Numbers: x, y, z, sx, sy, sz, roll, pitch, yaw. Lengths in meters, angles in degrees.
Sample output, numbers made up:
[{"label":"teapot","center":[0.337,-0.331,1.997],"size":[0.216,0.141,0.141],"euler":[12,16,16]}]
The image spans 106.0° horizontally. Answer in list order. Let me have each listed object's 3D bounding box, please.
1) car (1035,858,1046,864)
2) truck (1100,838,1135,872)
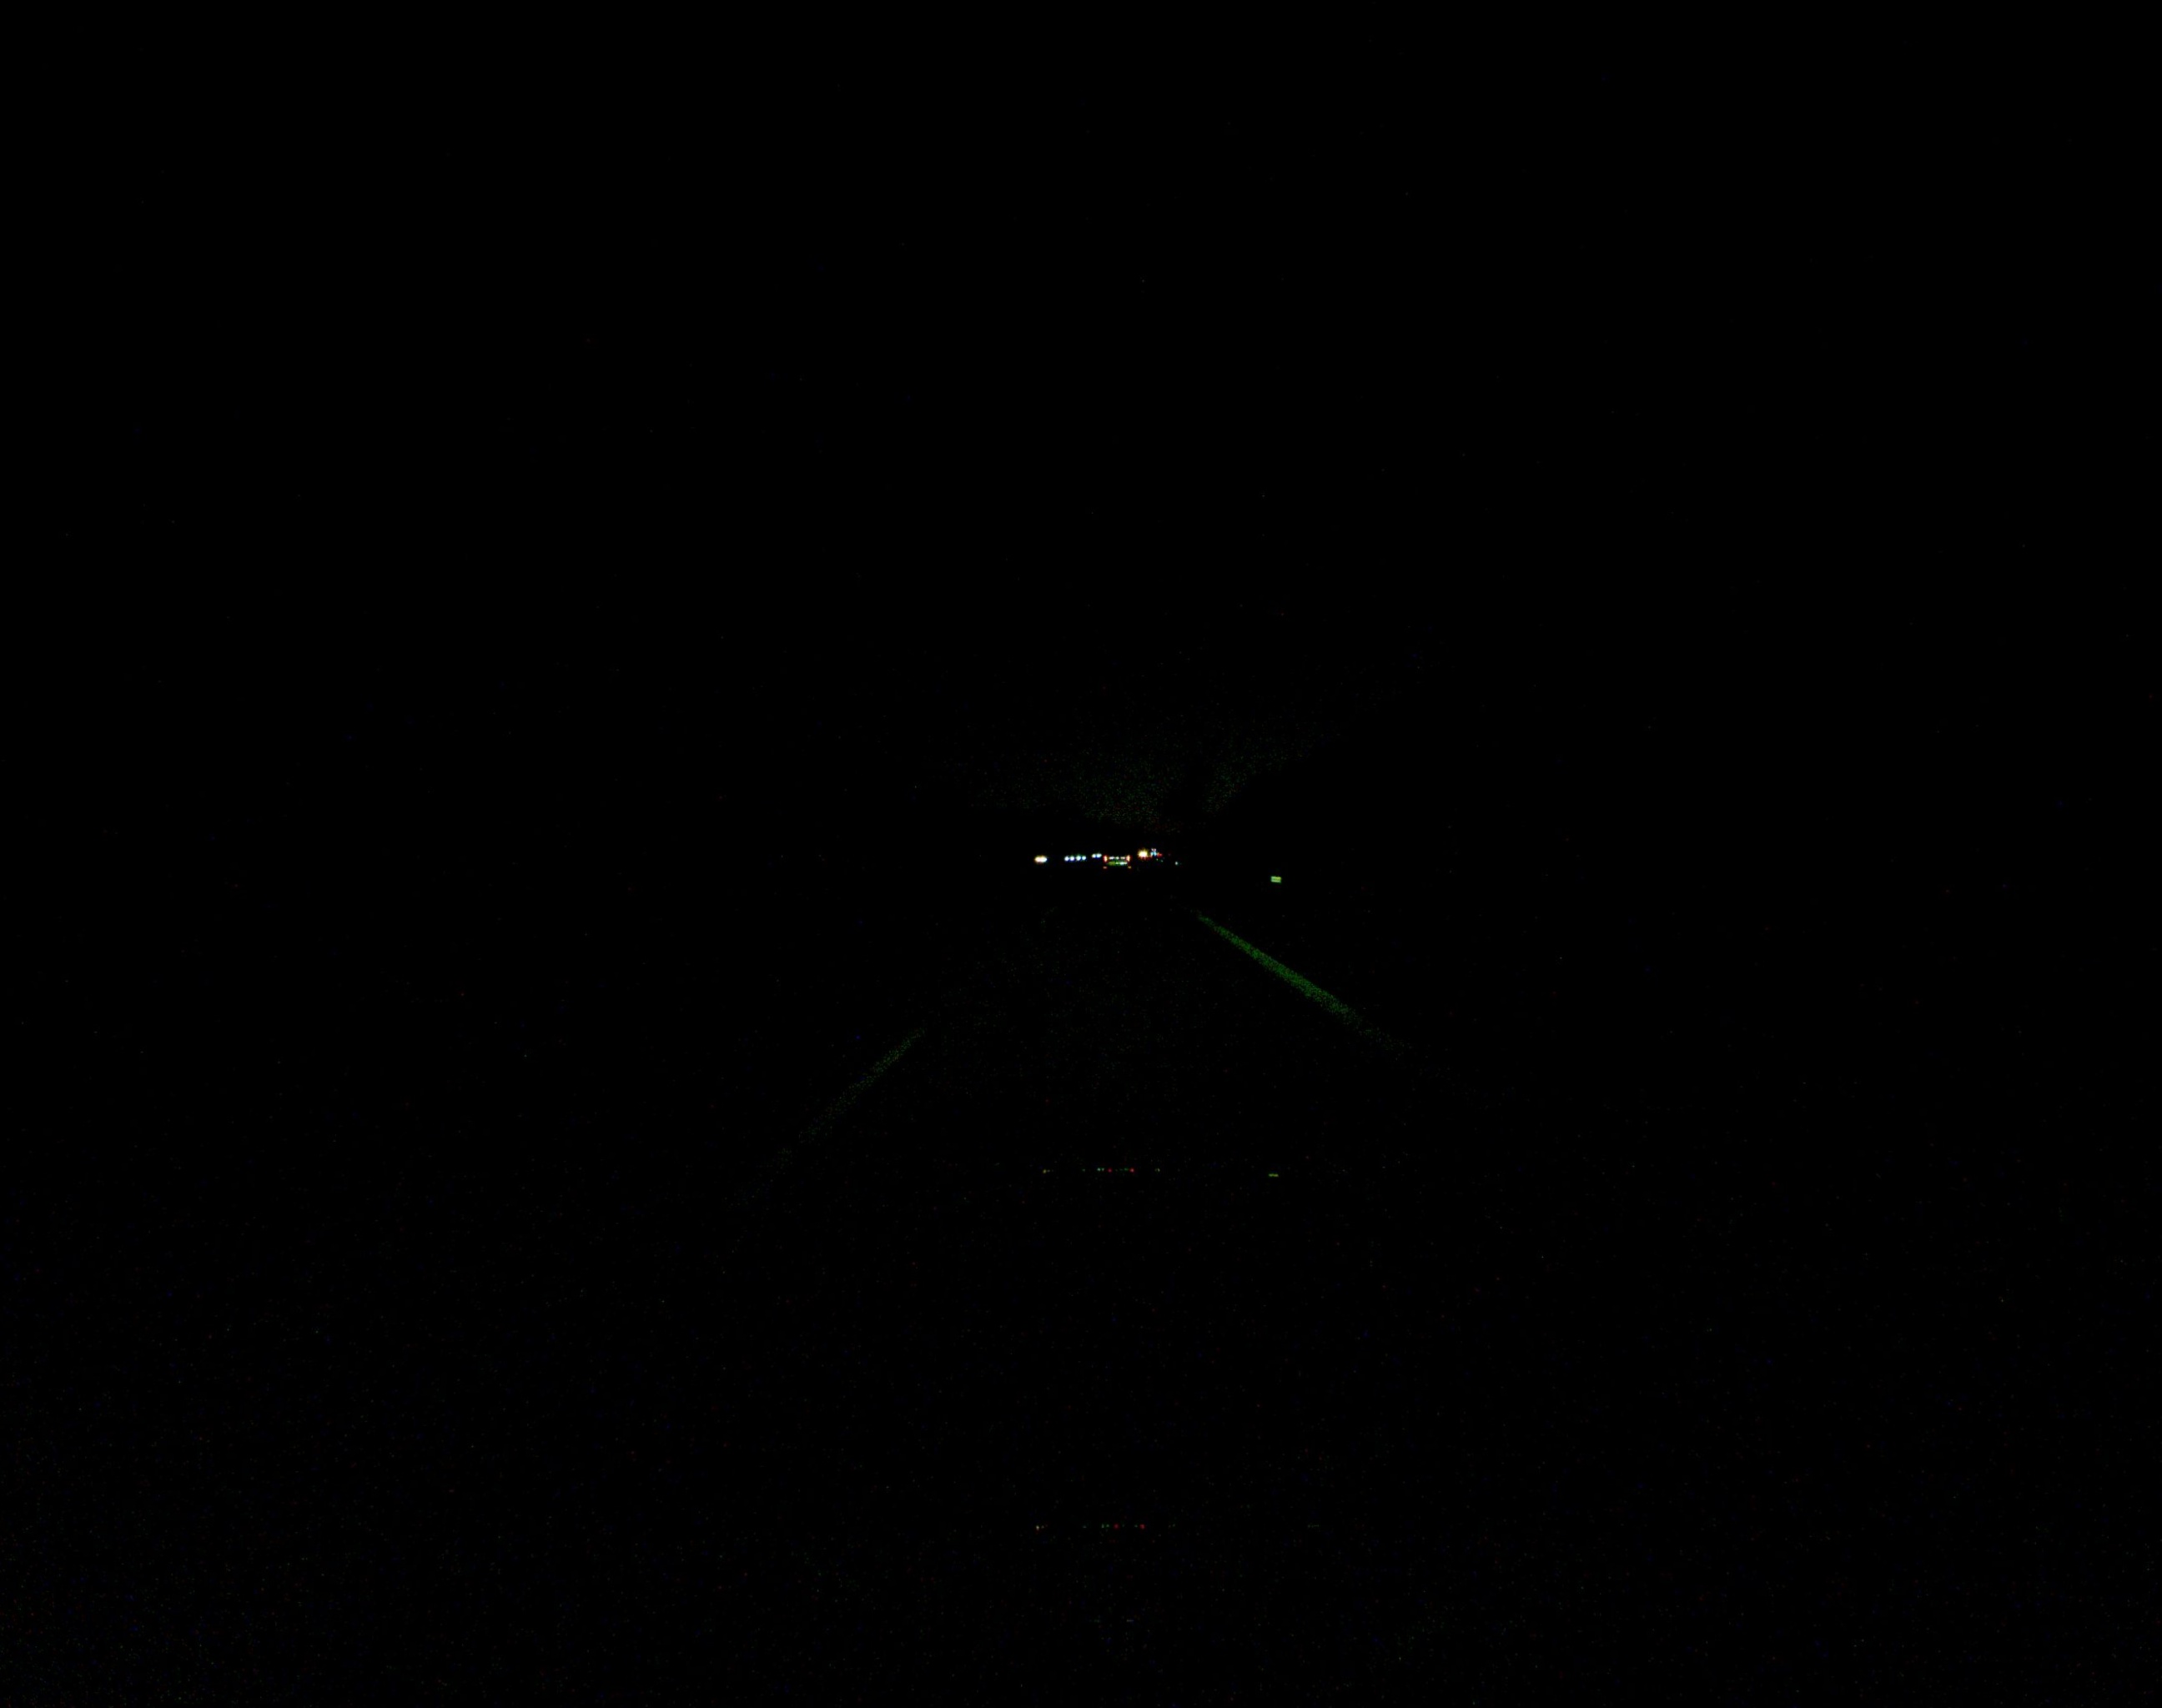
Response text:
[{"label":"car","center":[-9.956,1.642,200.161],"size":[1.984,1.508,4.406],"euler":[-1,0,5]},{"label":"truck","center":[2.986,0.118,68.370],"size":[2.621,2.624,8.684],"euler":[-1,0,0]}]
